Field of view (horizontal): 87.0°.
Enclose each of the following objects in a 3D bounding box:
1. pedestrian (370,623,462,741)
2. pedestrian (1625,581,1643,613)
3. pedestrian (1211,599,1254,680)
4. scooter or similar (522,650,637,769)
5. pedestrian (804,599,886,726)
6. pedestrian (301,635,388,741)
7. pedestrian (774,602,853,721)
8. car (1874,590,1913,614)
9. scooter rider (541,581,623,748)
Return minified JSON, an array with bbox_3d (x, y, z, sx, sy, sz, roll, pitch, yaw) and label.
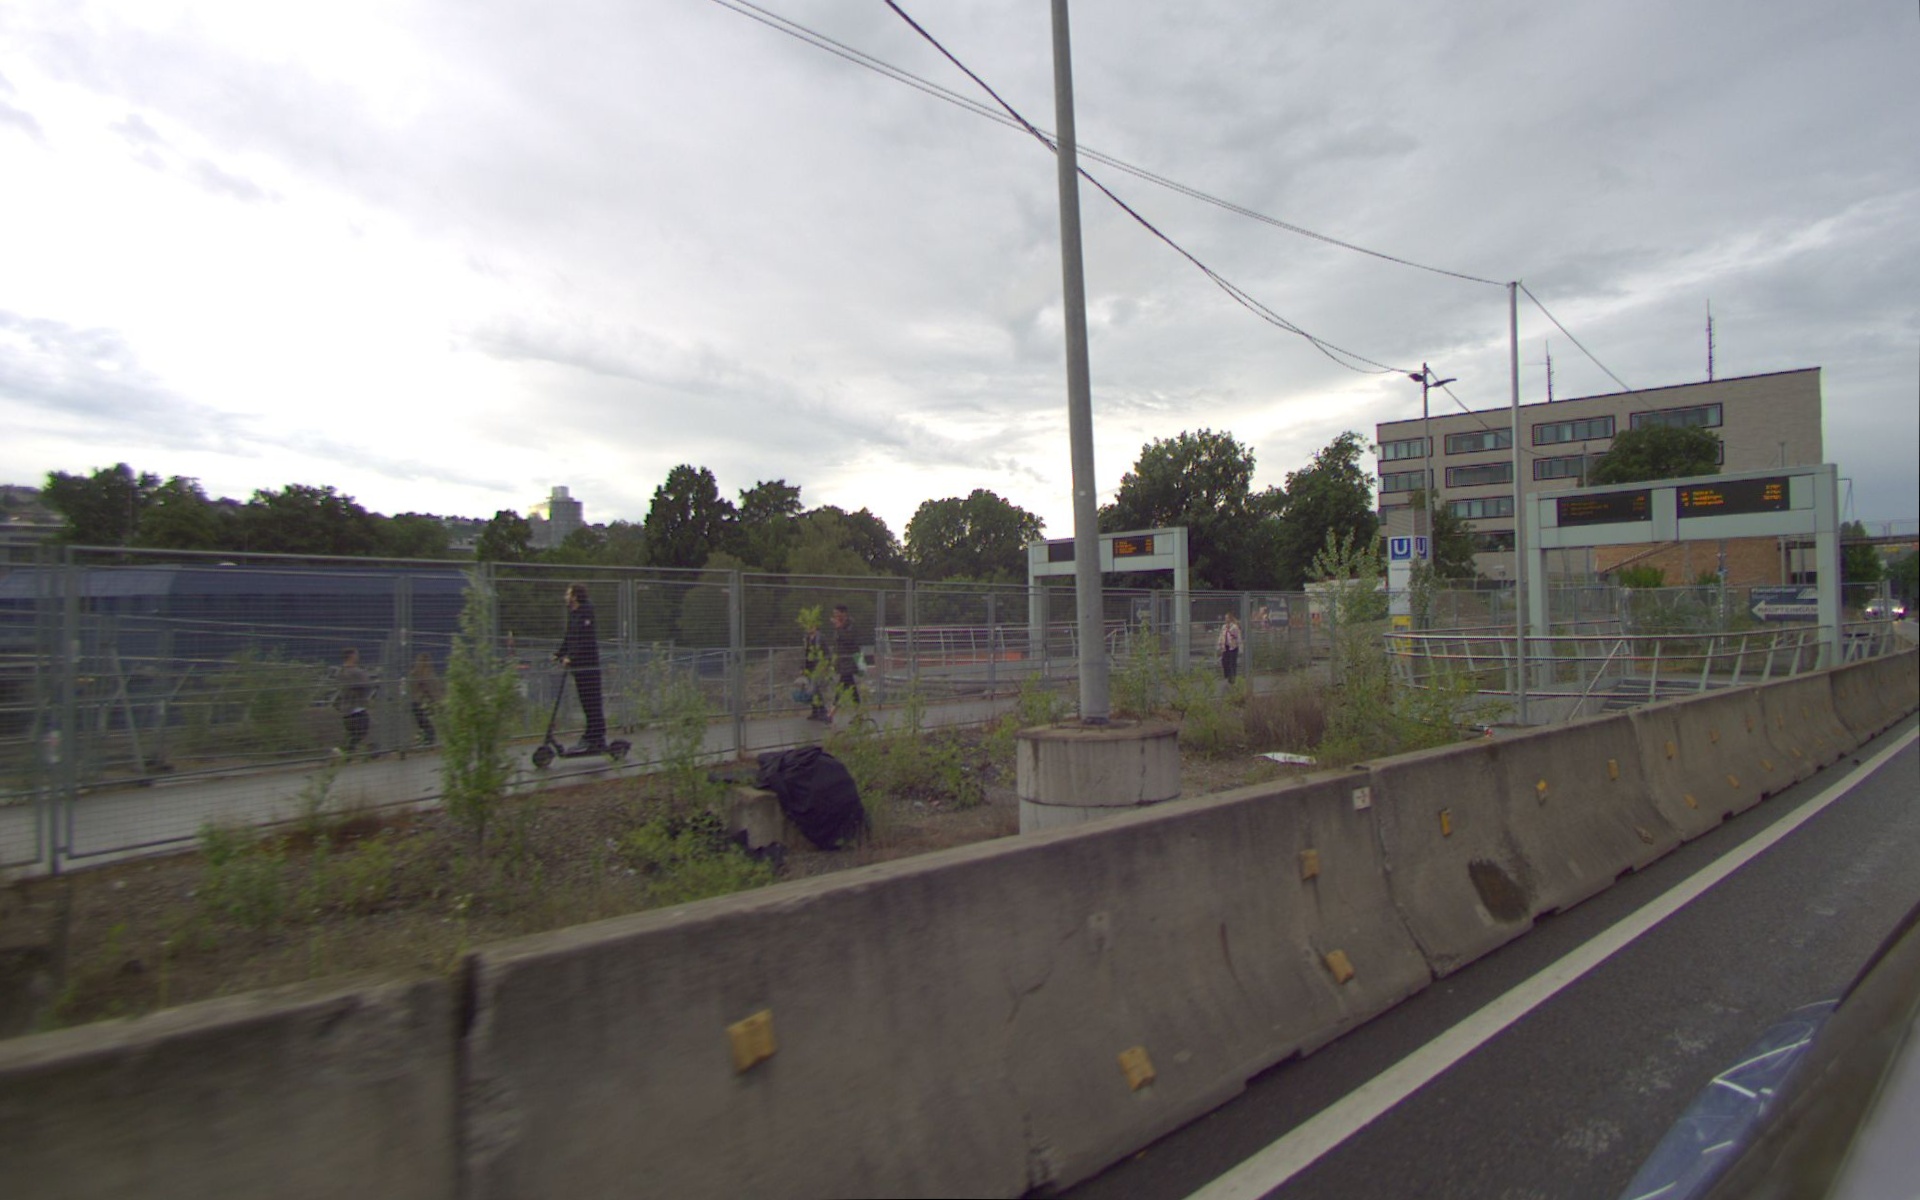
[{"bbox_3d":[-8.122,1.189,15.135,0.682,1.653,1.017,-1,0,17],"label":"pedestrian"},{"bbox_3d":[38.854,-0.172,58.381,0.683,1.800,0.810,-1,0,22],"label":"pedestrian"},{"bbox_3d":[6.272,0.885,23.280,0.688,1.800,0.804,-1,0,38],"label":"pedestrian"},{"bbox_3d":[-4.193,1.173,11.176,1.078,1.195,0.491,1,-1,-45],"label":"scooter or similar"},{"bbox_3d":[-1.707,0.900,15.123,0.689,1.800,1.007,-1,0,42],"label":"pedestrian"},{"bbox_3d":[-9.212,1.294,15.168,0.682,1.491,0.887,-1,0,18],"label":"pedestrian"},{"bbox_3d":[-2.321,0.939,16.077,0.726,1.800,1.006,-1,0,45],"label":"pedestrian"},{"bbox_3d":[62.648,0.164,67.965,1.766,1.553,4.585,-2,-2,42],"label":"car"},{"bbox_3d":[-4.178,0.683,11.197,0.688,1.778,0.521,1,-1,-45],"label":"scooter rider"}]
